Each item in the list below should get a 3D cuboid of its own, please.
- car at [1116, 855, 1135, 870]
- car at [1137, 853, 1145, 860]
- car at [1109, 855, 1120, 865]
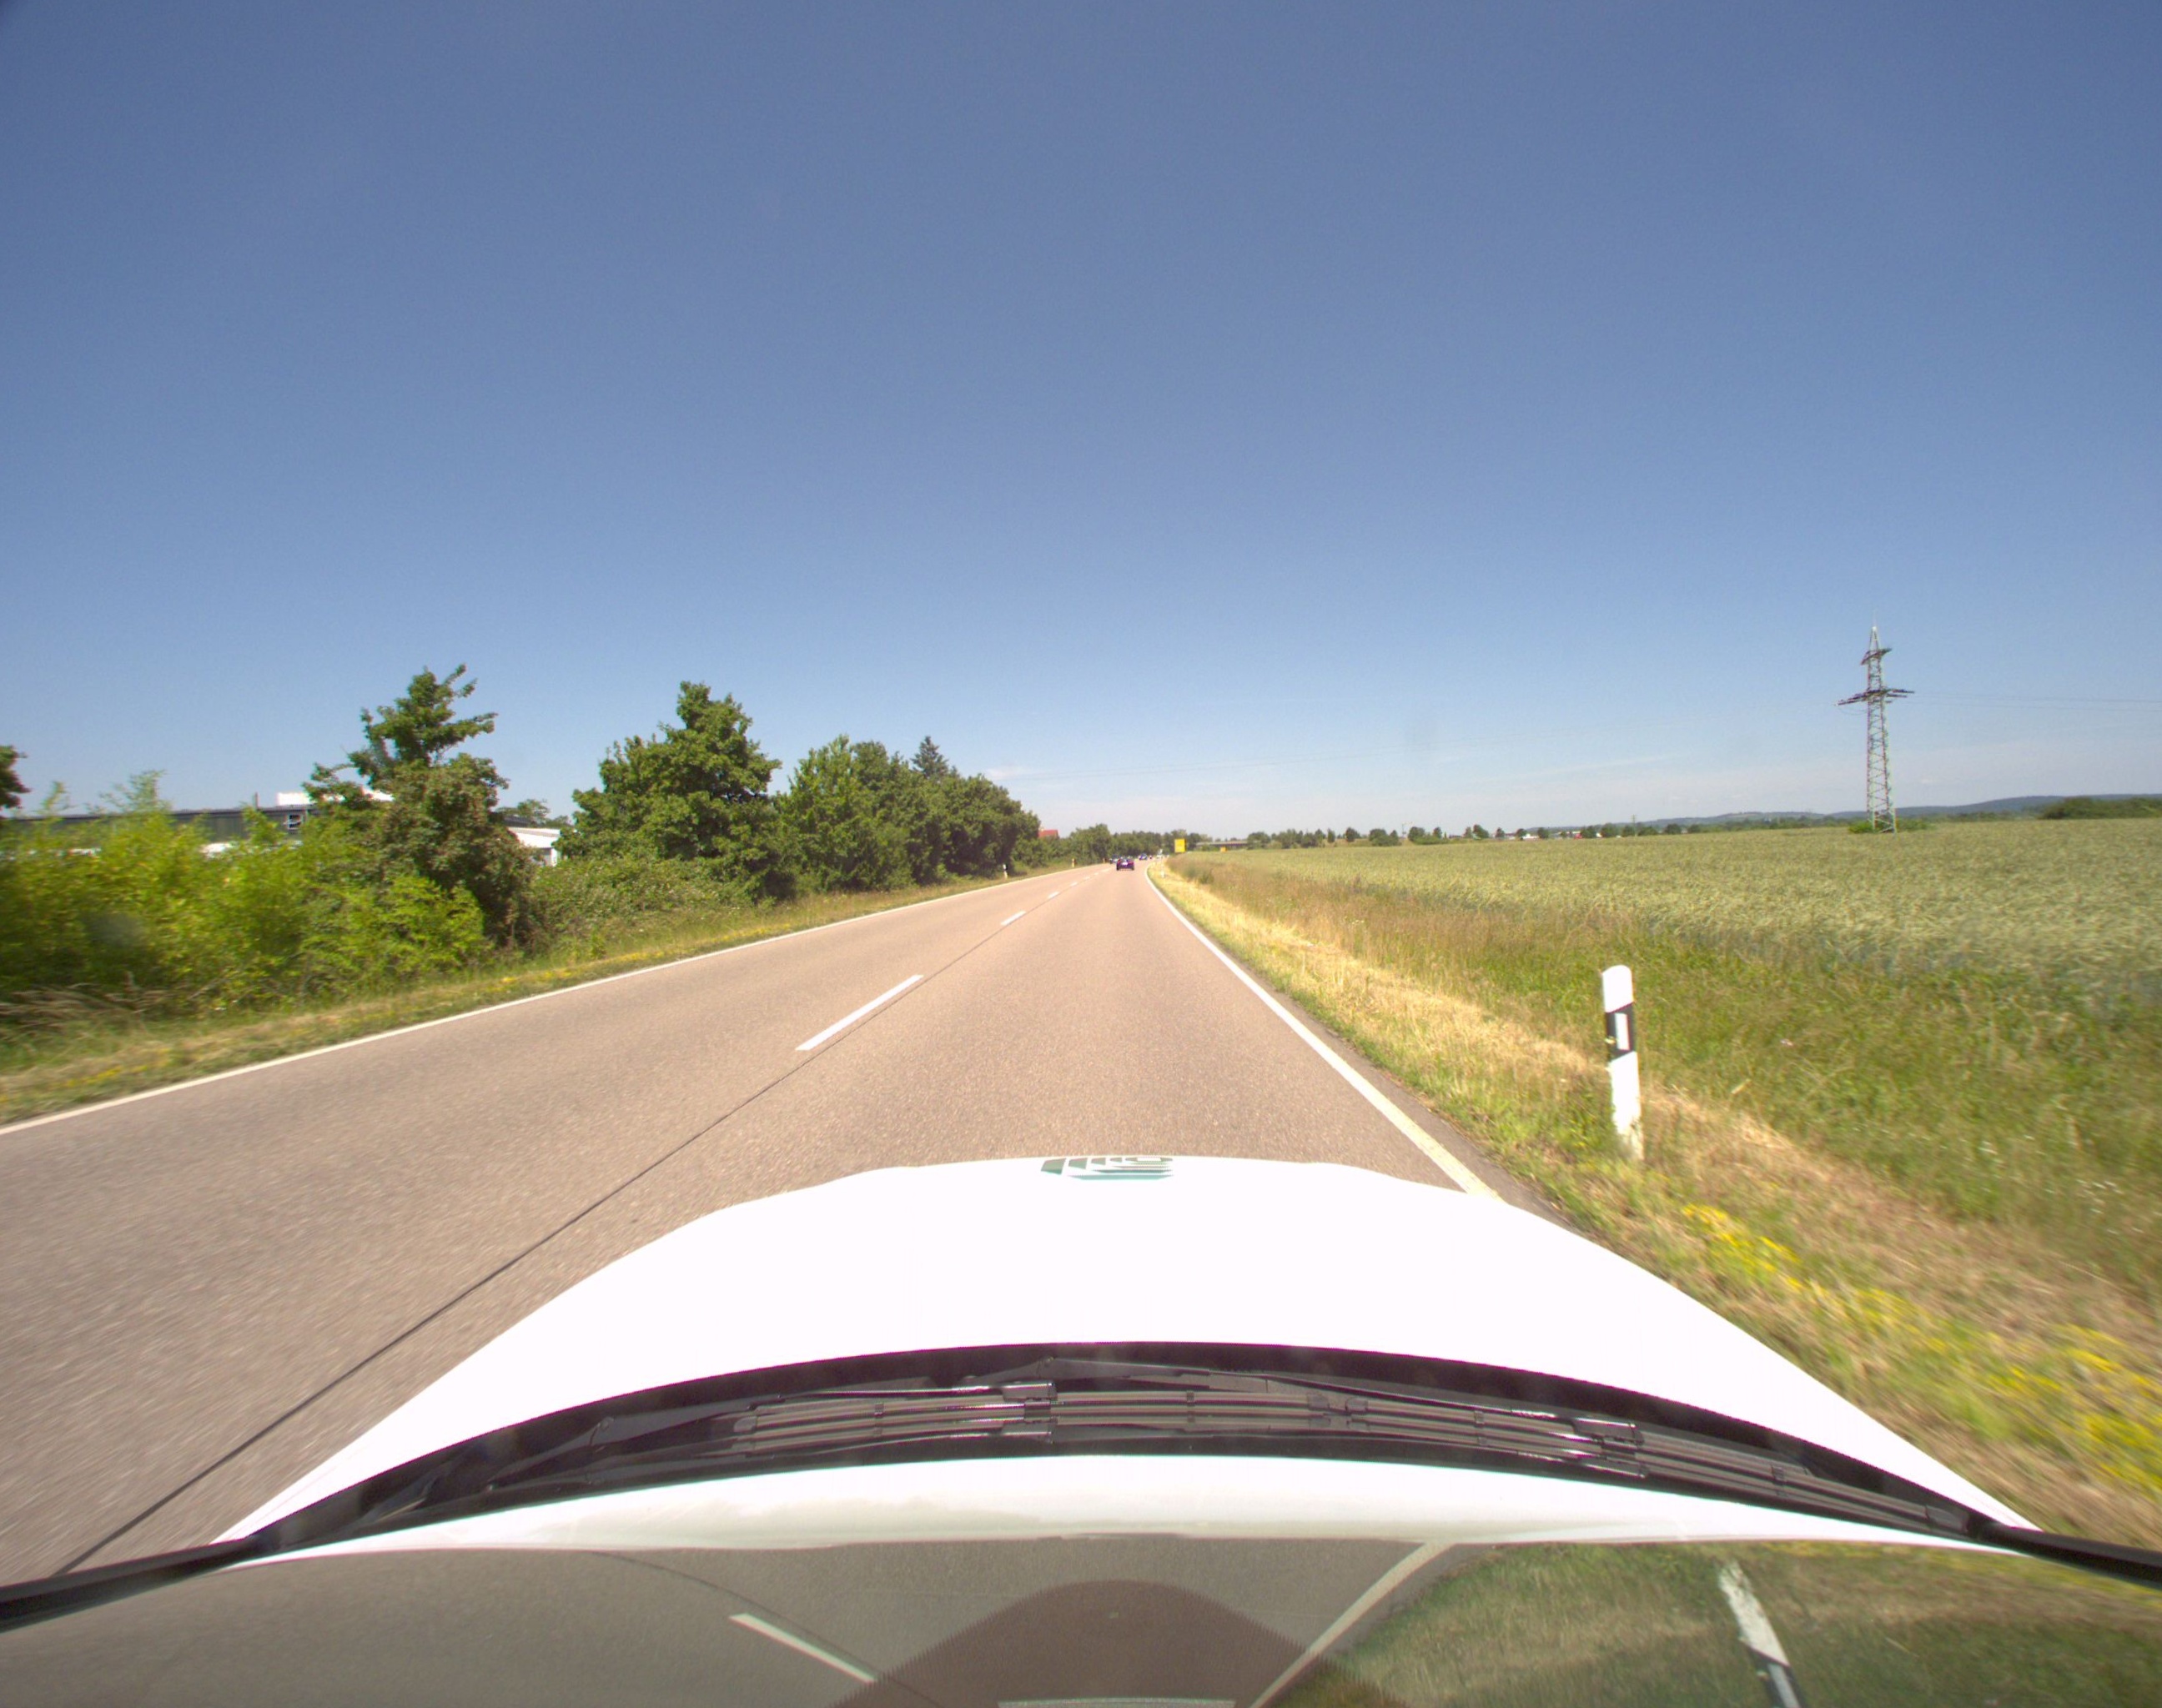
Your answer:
[{"bbox_3d":[4.461,0.838,81.963,1.806,1.441,4.004,0,0,4],"label":"car"},{"bbox_3d":[15.272,0.532,208.186,1.809,1.701,5.009,-1,0,6],"label":"car"},{"bbox_3d":[5.593,1.015,135.184,1.691,1.566,3.675,-1,0,4],"label":"car"}]
